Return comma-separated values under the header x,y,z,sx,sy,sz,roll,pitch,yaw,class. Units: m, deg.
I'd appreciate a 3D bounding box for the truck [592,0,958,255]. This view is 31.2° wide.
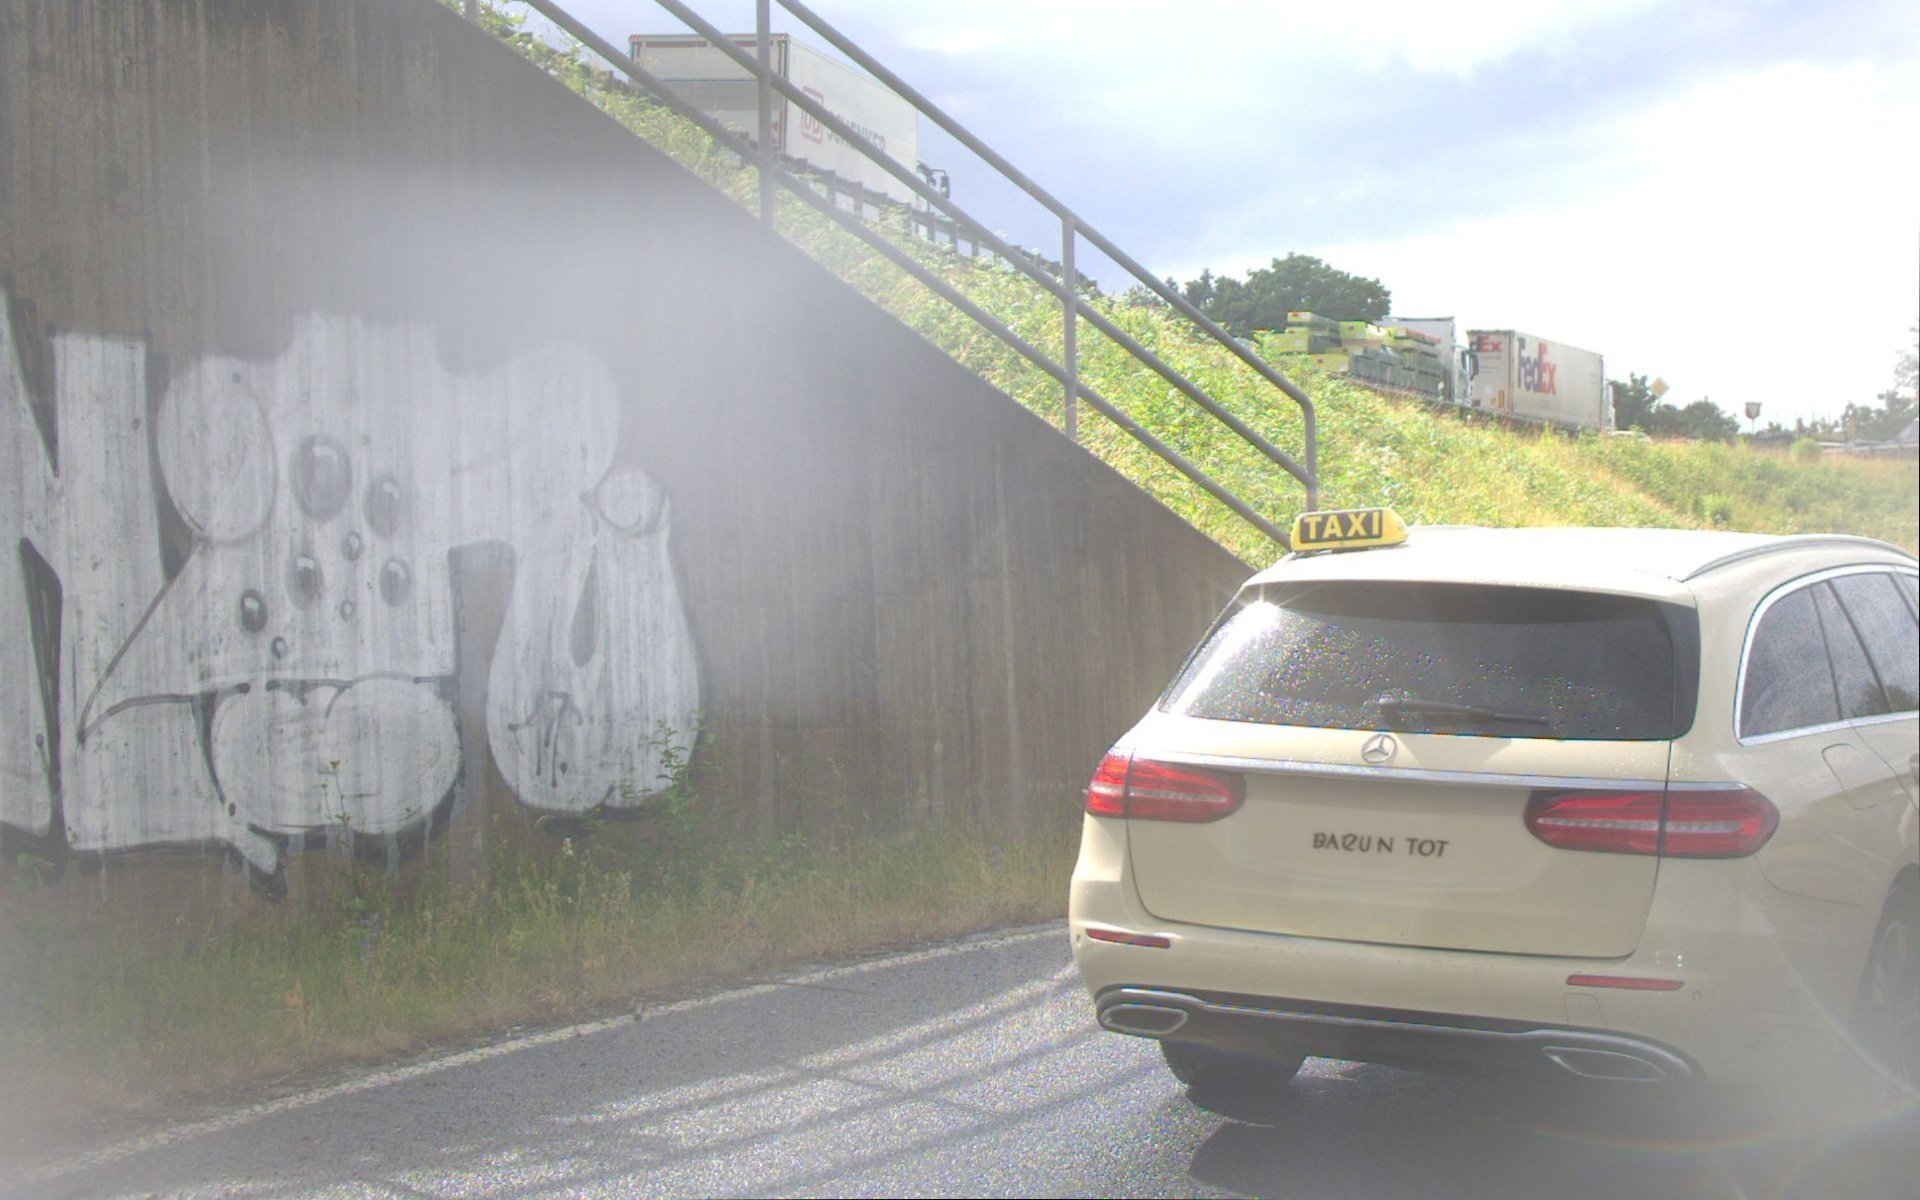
x,y,z,sx,sy,sz,roll,pitch,yaw,class
-2.750,-8.058,55.174,3.182,3.953,9.230,1,-1,14,truck

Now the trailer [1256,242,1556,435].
x,y,z,sx,sy,sz,roll,pitch,yaw,class
13.769,-7.546,103.131,4.418,3.942,20.196,1,-1,20,trailer

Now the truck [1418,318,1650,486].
x,y,z,sx,sy,sz,roll,pitch,yaw,class
20.550,-6.747,121.368,4.465,4.488,19.355,1,-1,20,truck

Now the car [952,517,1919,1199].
x,y,z,sx,sy,sz,roll,pitch,yaw,class
1.948,0.529,9.446,1.919,1.502,4.589,0,1,29,car

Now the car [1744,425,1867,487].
x,y,z,sx,sy,sz,roll,pitch,yaw,class
28.713,-4.886,116.666,3.990,2.007,1.825,1,-1,15,car
